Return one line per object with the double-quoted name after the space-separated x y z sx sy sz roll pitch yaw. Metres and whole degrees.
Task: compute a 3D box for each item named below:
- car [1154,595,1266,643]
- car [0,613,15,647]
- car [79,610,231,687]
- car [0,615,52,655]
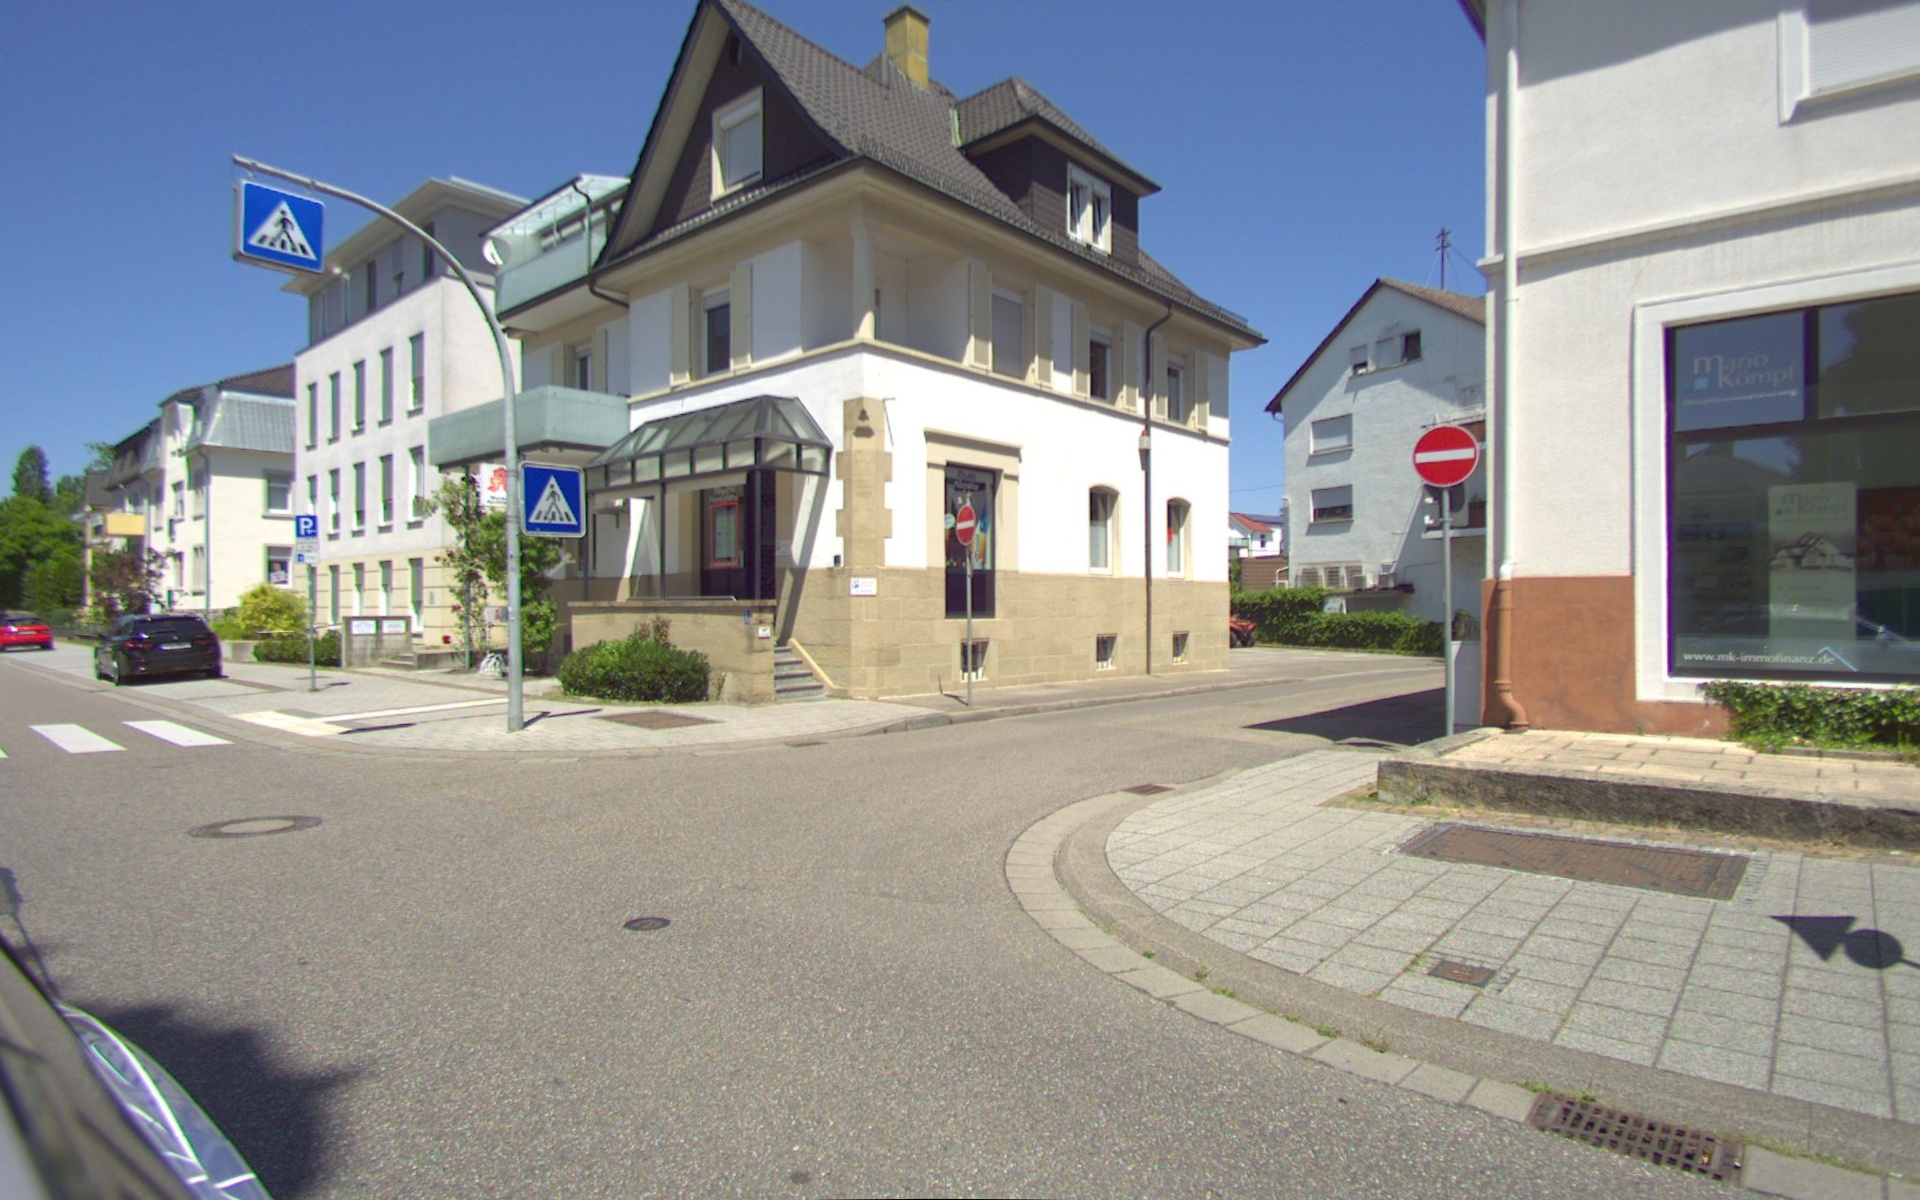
9.686 0.740 39.482 1.966 1.759 4.011 0 -1 -33 "car"
-47.356 1.489 49.015 4.435 1.598 1.900 -1 2 43 "car"
-18.460 1.023 23.103 5.148 1.463 1.896 -1 2 43 "car"
-38.819 1.411 41.621 4.259 1.463 1.714 -1 2 43 "car"
